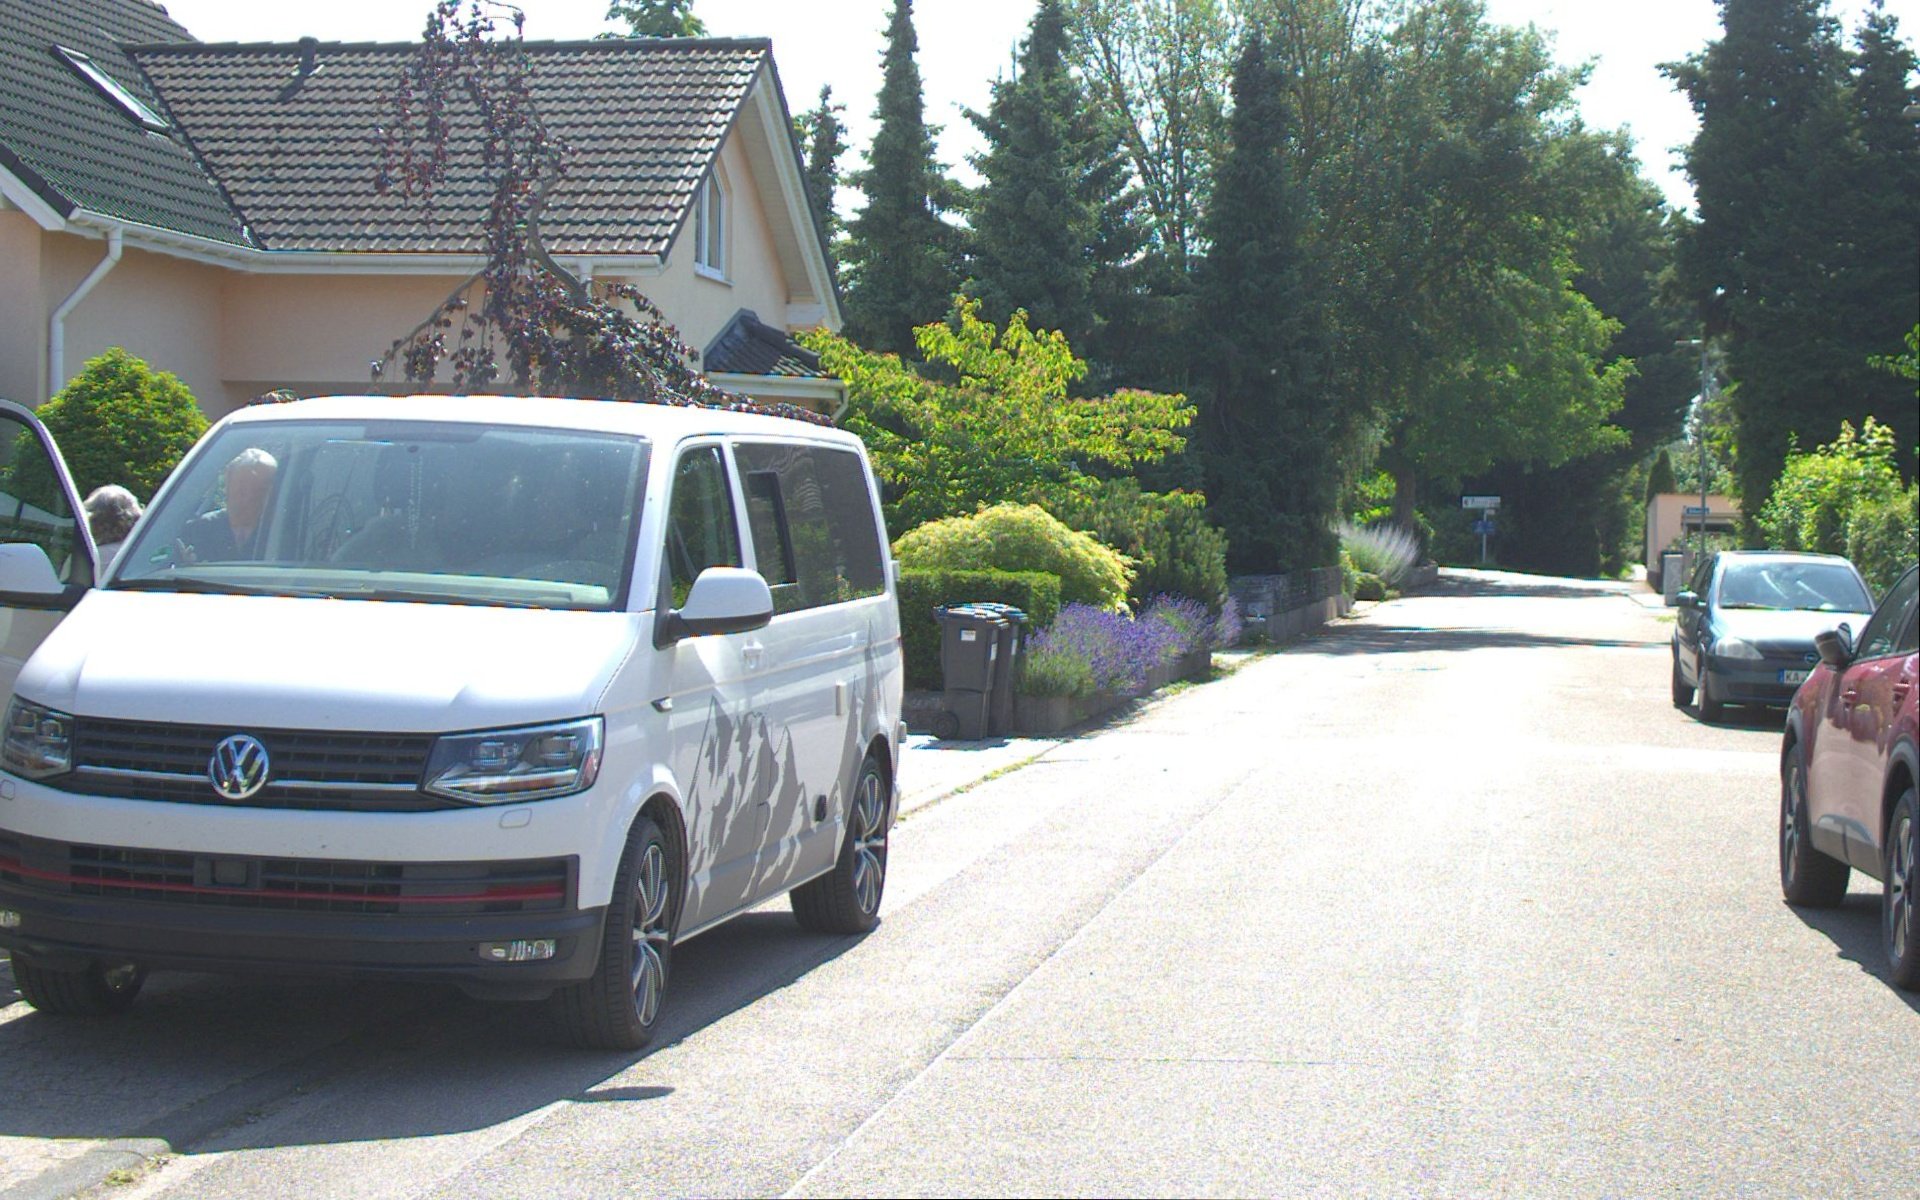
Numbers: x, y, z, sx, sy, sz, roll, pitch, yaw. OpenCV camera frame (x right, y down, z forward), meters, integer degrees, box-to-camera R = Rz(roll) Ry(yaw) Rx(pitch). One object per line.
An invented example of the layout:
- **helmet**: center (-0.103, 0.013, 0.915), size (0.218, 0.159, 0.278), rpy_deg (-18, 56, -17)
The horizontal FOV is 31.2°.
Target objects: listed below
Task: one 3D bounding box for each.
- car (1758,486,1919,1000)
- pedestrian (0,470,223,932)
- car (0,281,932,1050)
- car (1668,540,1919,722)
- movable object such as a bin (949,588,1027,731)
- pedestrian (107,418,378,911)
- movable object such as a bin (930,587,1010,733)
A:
- **car**: center (4.119, 0.457, 12.664), size (1.823, 1.610, 3.999), rpy_deg (2, 1, 7)
- **pedestrian**: center (-3.046, 0.325, 11.903), size (0.719, 1.533, 0.640), rpy_deg (3, 2, 43)
- **car**: center (-1.522, 0.130, 11.602), size (1.930, 2.007, 4.894), rpy_deg (1, 1, 10)
- **car**: center (7.102, 0.225, 29.589), size (1.703, 1.395, 3.999), rpy_deg (2, 1, 8)
- **movable object such as a bin**: center (0.205, 0.426, 25.081), size (0.494, 1.021, 0.447), rpy_deg (1, 1, 10)
- **pedestrian**: center (-2.609, 0.214, 12.501), size (0.691, 1.725, 0.640), rpy_deg (3, 2, 40)
- **movable object such as a bin**: center (0.073, 0.426, 24.634), size (0.494, 1.021, 0.447), rpy_deg (1, 1, 10)
